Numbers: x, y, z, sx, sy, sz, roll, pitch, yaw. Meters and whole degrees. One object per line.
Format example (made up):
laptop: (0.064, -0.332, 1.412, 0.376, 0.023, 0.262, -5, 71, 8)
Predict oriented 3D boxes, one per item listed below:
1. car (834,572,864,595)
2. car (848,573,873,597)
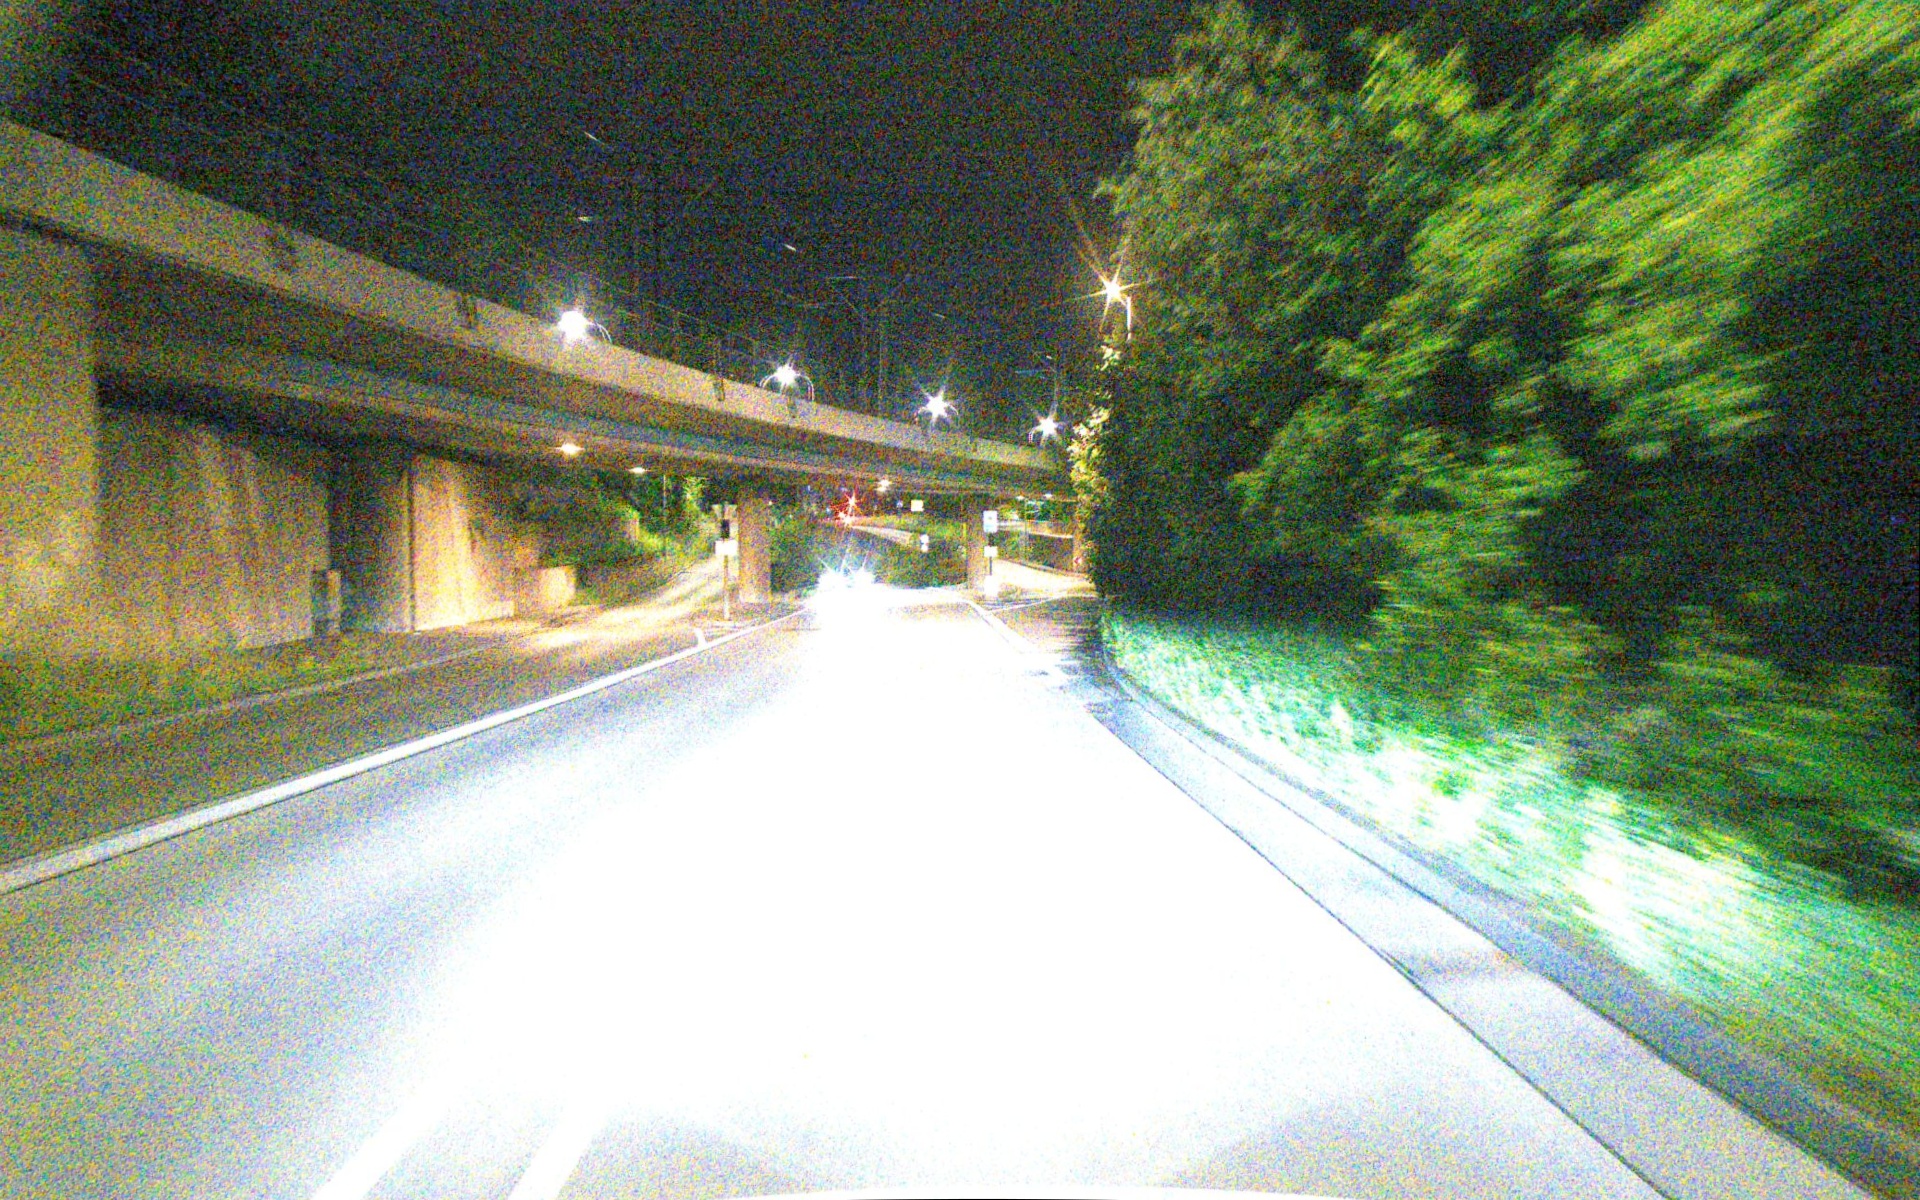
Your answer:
car: (-8.026, -1.150, 119.420, 1.846, 1.581, 4.211, -1, 0, -7)
car: (-8.842, -1.325, 147.344, 1.882, 2.049, 4.115, 2, -1, -8)
